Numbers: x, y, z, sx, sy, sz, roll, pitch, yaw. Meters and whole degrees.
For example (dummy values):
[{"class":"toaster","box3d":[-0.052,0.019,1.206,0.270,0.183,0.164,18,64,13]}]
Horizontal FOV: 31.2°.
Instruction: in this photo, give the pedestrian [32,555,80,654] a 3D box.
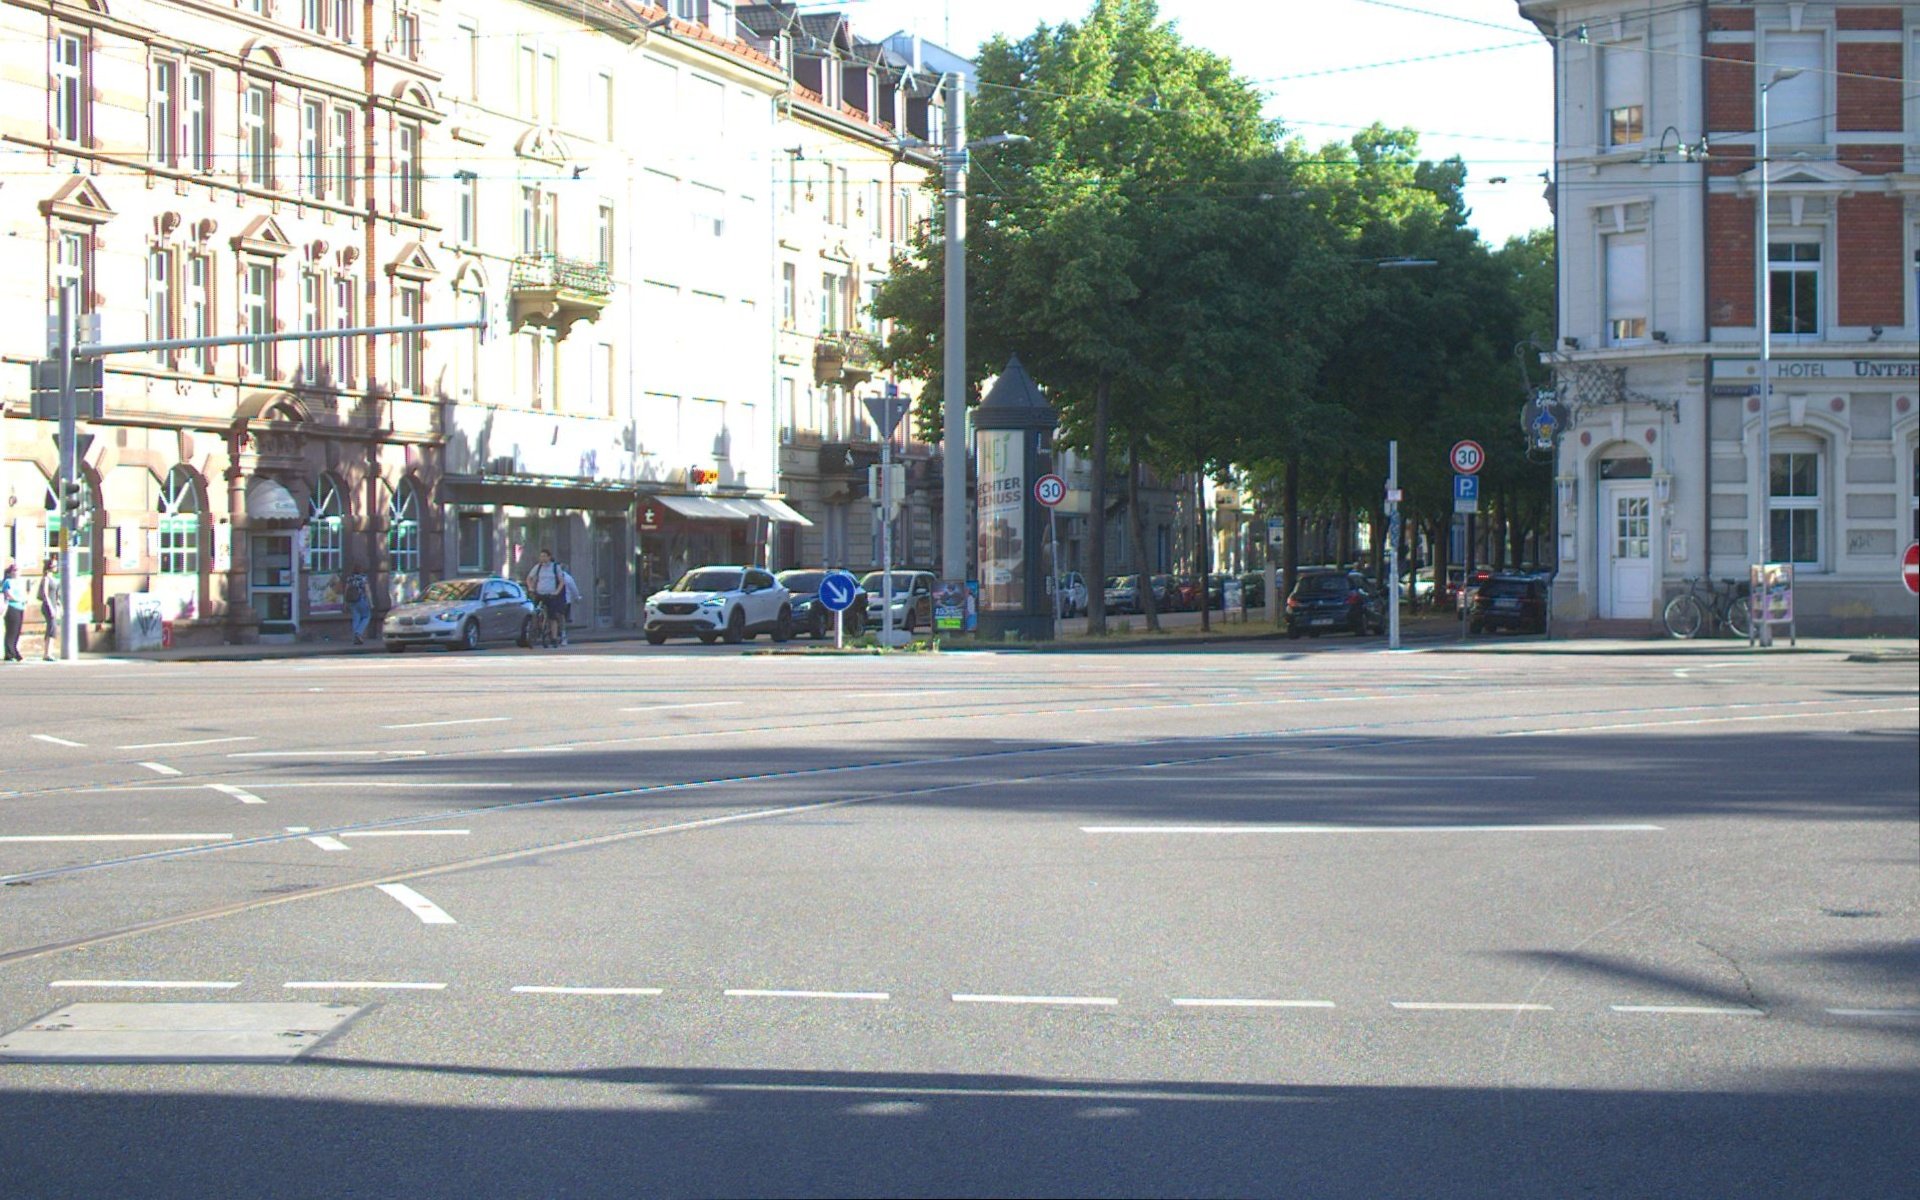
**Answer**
[{"class":"pedestrian","box3d":[-15.038,0.076,57.217,0.633,1.628,0.701,1,0,-4]}]

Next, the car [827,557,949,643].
[{"class":"car","box3d":[-1.641,-0.019,79.742,1.994,1.897,3.998,1,1,11]}]

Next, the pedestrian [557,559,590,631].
[{"class":"pedestrian","box3d":[-8.892,-0.116,79.089,0.544,1.626,0.706,1,0,13]}]

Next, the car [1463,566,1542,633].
[{"class":"car","box3d":[13.062,-0.027,82.591,1.692,1.559,3.839,1,1,11]}]

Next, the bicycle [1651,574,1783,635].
[{"class":"bicycle","box3d":[12.558,0.069,57.085,2.049,0.994,0.630,0,0,3]}]

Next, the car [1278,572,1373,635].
[{"class":"car","box3d":[8.299,0.063,77.838,1.755,1.357,3.854,1,1,12]}]

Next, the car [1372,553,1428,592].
[{"class":"car","box3d":[17.222,-1.071,134.522,1.560,1.508,3.653,1,1,17]}]

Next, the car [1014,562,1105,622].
[{"class":"car","box3d":[3.277,-0.281,112.702,1.995,1.897,3.997,1,1,17]}]

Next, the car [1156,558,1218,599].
[{"class":"car","box3d":[8.736,-0.819,131.956,1.560,1.508,3.653,1,1,17]}]

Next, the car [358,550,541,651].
[{"class":"car","box3d":[-9.925,-0.007,67.121,1.995,1.897,3.997,1,1,17]}]

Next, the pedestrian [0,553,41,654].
[{"class":"pedestrian","box3d":[-15.339,0.050,55.905,0.633,1.628,0.701,1,0,-4]}]

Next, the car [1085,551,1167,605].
[{"class":"car","box3d":[5.918,-0.785,122.362,1.995,1.897,3.997,1,1,17]}]

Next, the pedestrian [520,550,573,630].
[{"class":"pedestrian","box3d":[-7.835,-0.191,65.207,0.821,1.507,0.598,1,0,15]}]

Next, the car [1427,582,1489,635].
[{"class":"car","box3d":[15.121,0.237,104.213,1.772,1.525,3.998,1,1,9]}]

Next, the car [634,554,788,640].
[{"class":"car","box3d":[-4.832,-0.070,67.248,1.994,1.612,3.998,1,1,11]}]

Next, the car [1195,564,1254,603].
[{"class":"car","box3d":[10.473,-0.647,136.074,1.560,1.508,3.653,1,1,17]}]

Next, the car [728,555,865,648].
[{"class":"car","box3d":[-3.473,0.016,73.691,1.994,1.897,3.998,1,1,11]}]

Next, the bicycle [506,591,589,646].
[{"class":"bicycle","box3d":[-7.821,0.336,65.287,0.763,1.004,2.395,1,1,13]}]

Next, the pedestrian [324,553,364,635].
[{"class":"pedestrian","box3d":[-12.436,-0.122,69.433,0.544,1.626,0.706,1,0,13]}]
